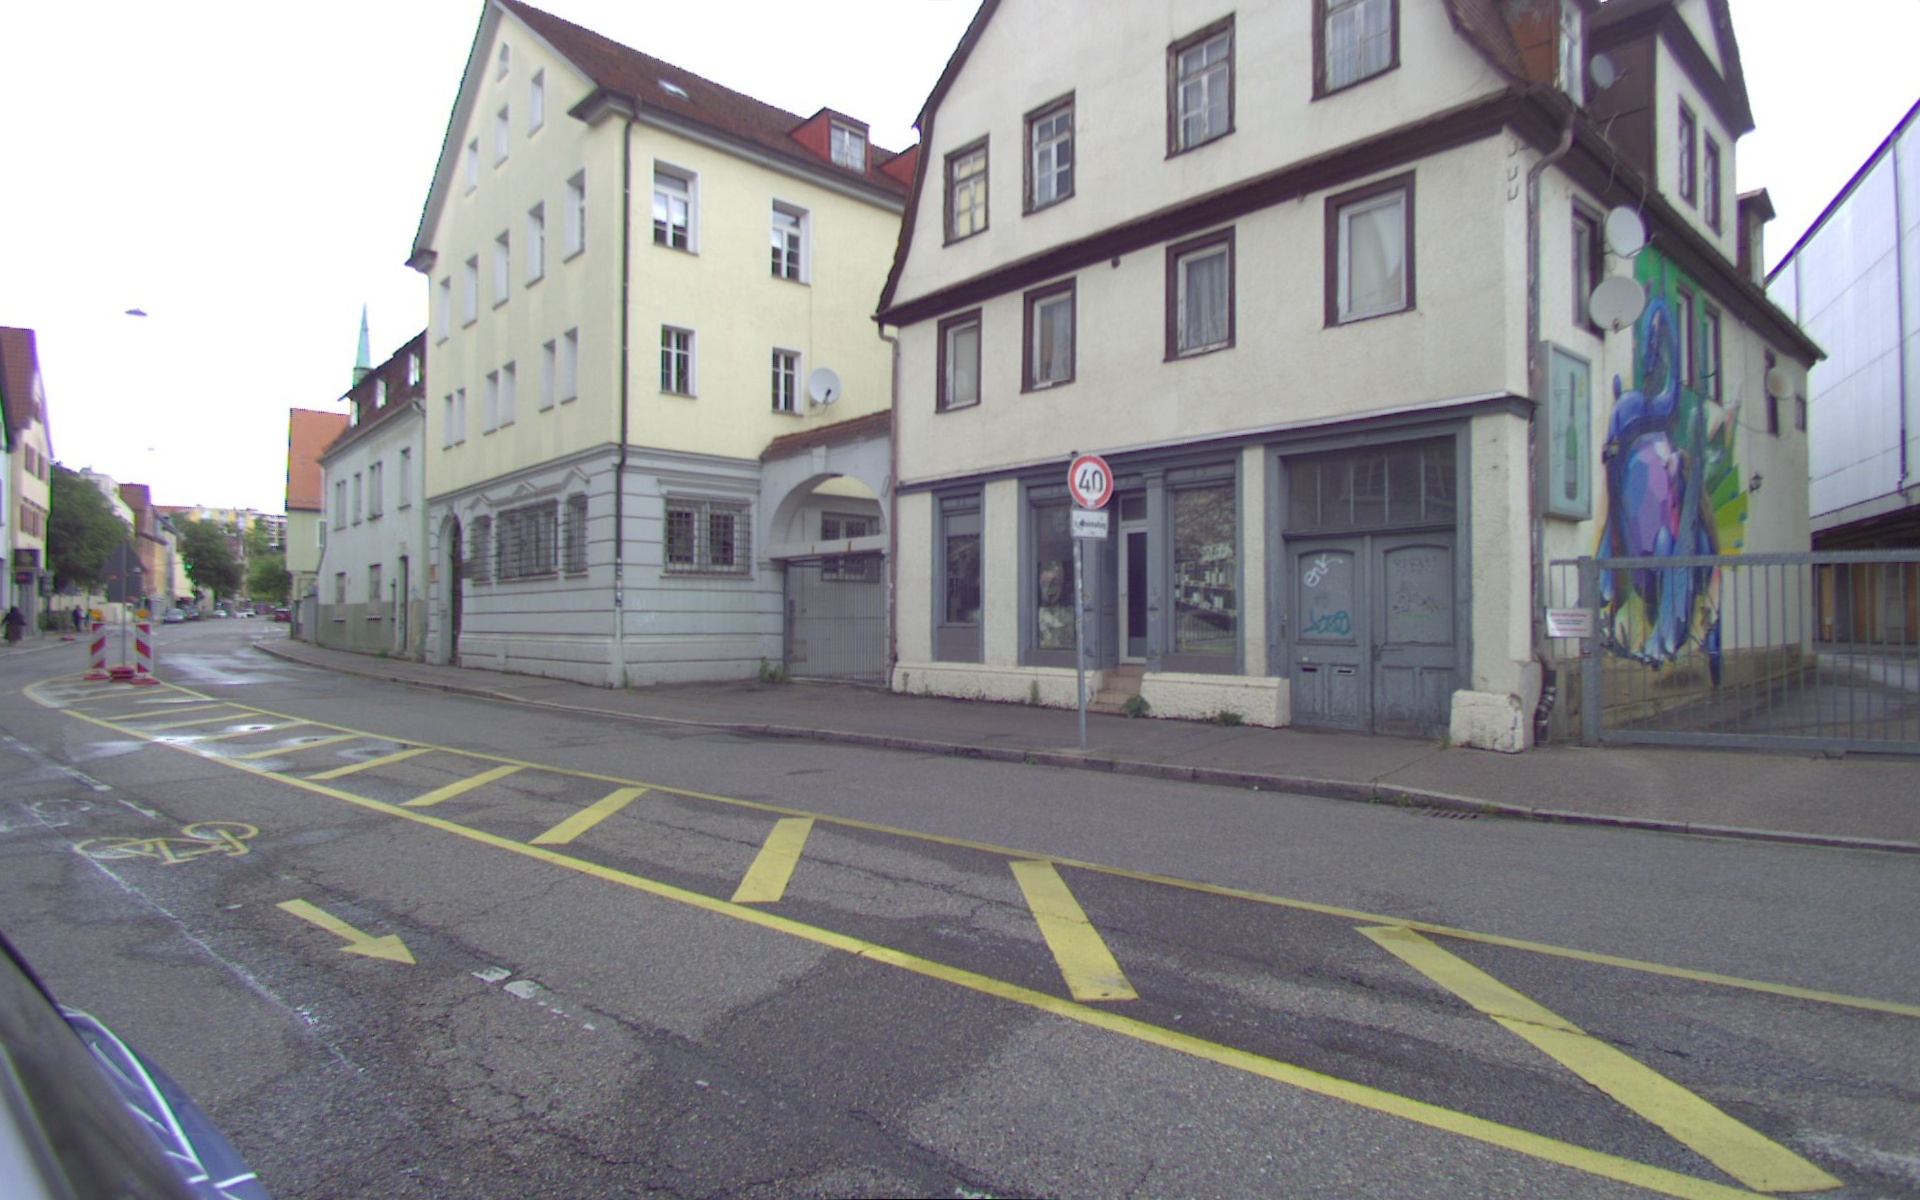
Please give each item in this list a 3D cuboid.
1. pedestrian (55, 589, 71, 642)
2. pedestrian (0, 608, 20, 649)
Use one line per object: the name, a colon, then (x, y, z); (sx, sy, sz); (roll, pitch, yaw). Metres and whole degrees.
pedestrian: (-43.775, 0.754, 49.382); (0.487, 2.547, 0.747); (1, -2, -38)
pedestrian: (-38.784, 1.167, 41.181); (0.714, 1.626, 0.650); (1, -3, -37)
